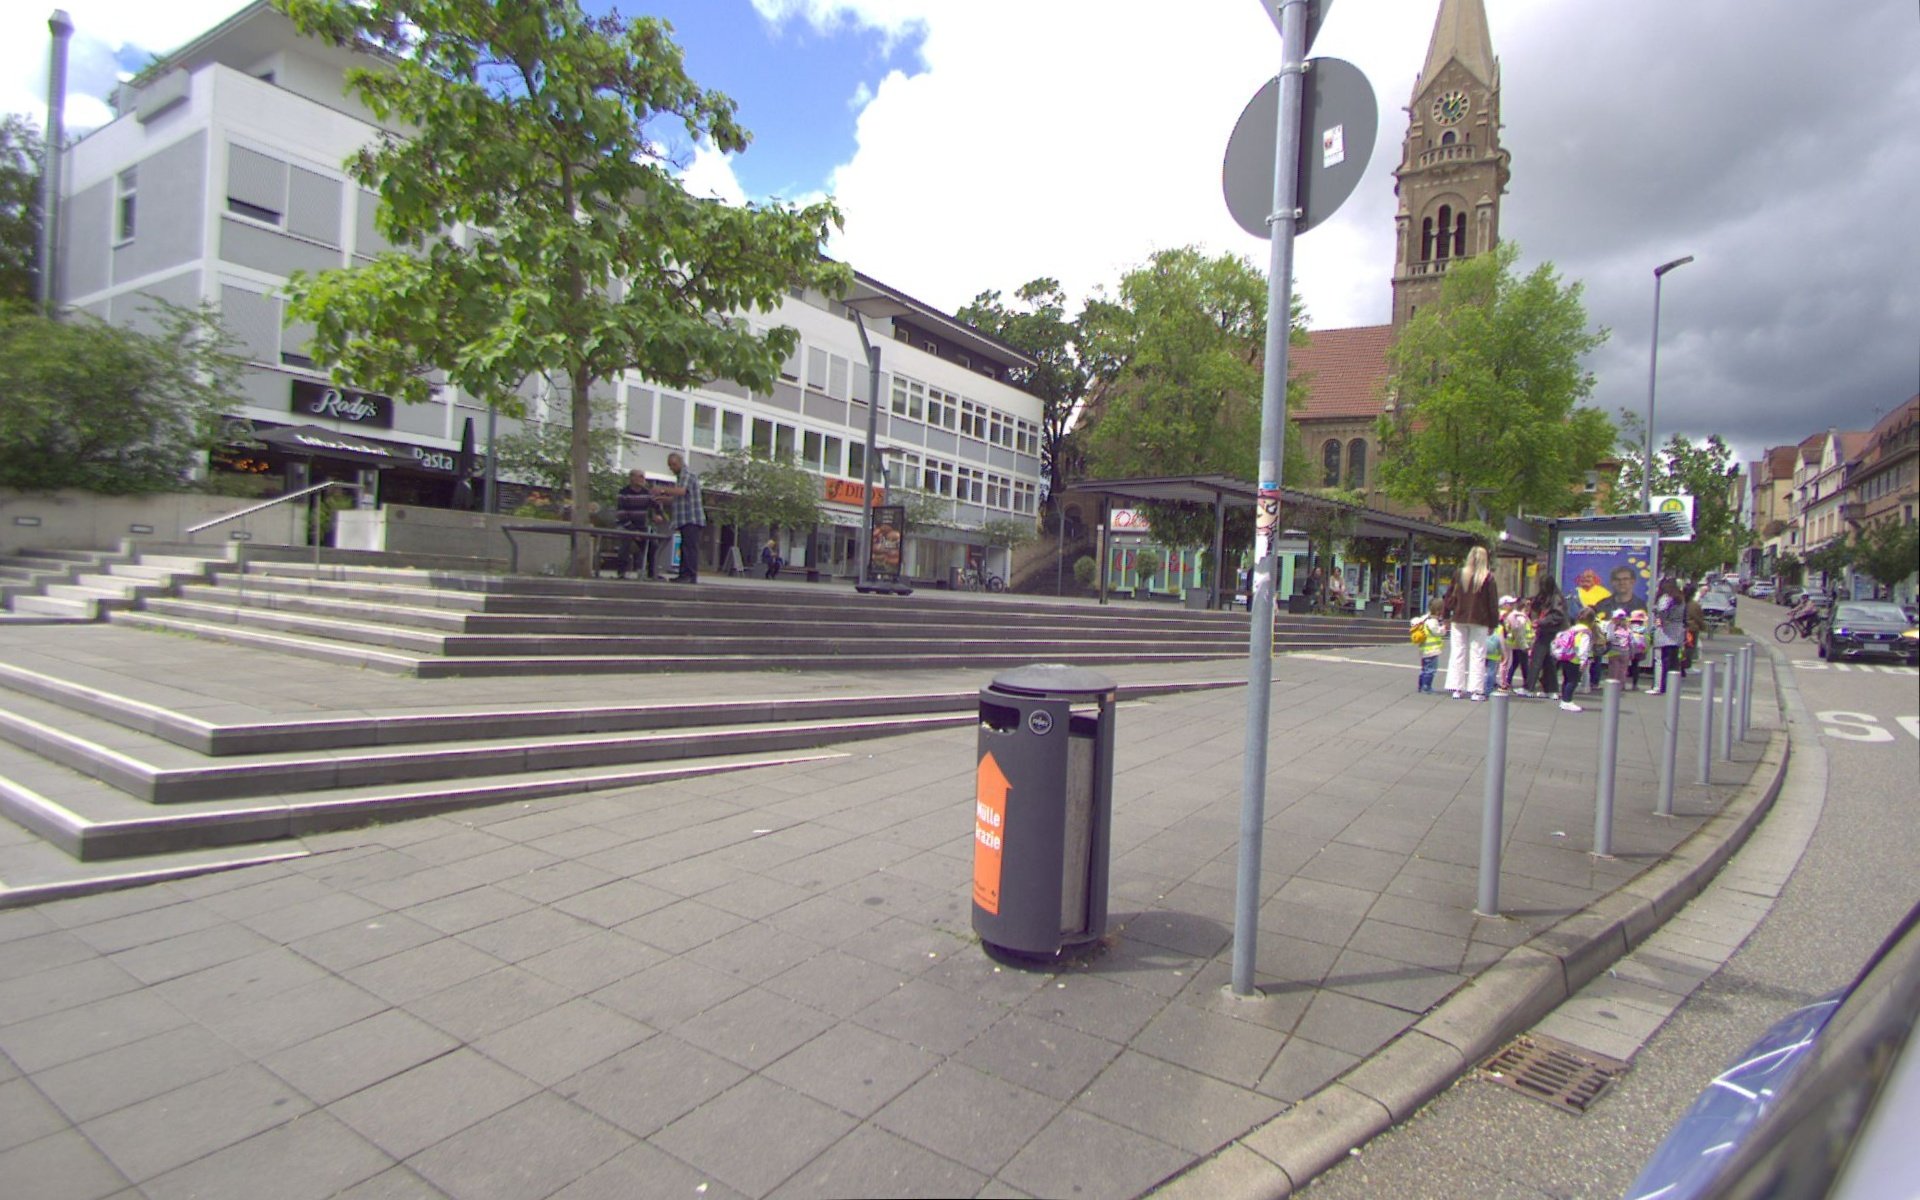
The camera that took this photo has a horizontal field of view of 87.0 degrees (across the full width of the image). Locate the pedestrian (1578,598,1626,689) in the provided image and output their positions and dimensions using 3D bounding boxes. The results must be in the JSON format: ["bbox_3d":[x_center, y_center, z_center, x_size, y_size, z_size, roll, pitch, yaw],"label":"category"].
[{"bbox_3d":[8.677,0.578,13.686,0.330,1.180,0.351,4,4,7],"label":"pedestrian"}]

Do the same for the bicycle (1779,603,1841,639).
[{"bbox_3d":[30.399,0.744,36.196,1.625,1.099,0.413,5,6,5],"label":"bicycle"}]

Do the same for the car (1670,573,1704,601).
[{"bbox_3d":[54.230,-0.986,75.481,1.881,1.869,4.964,4,4,37],"label":"car"}]

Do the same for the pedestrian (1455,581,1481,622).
[{"bbox_3d":[16.451,0.040,32.781,0.568,1.278,0.533,4,0,43],"label":"pedestrian"}]

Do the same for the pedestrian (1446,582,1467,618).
[{"bbox_3d":[15.944,0.005,32.486,0.476,1.102,0.362,4,0,43],"label":"pedestrian"}]

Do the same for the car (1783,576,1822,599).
[{"bbox_3d":[63.709,-0.965,76.578,1.656,1.545,3.922,1,3,31],"label":"car"}]

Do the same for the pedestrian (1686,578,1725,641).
[{"bbox_3d":[20.878,0.256,28.357,0.702,1.703,0.686,1,2,-41],"label":"pedestrian"}]

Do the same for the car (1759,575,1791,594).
[{"bbox_3d":[70.767,-1.377,87.917,1.721,1.448,3.464,3,4,32],"label":"car"}]

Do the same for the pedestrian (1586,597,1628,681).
[{"bbox_3d":[9.345,0.555,14.621,0.312,1.166,0.322,3,2,-1],"label":"pedestrian"}]

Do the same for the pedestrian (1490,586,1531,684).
[{"bbox_3d":[7.298,0.459,13.417,0.323,1.253,0.329,6,4,42],"label":"pedestrian"}]

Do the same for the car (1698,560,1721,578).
[{"bbox_3d":[81.427,-3.335,109.986,1.741,1.824,4.162,5,4,33],"label":"car"}]

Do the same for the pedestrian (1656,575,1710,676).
[{"bbox_3d":[11.736,0.396,16.436,0.495,1.585,0.495,3,2,18],"label":"pedestrian"}]

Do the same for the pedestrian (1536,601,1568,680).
[{"bbox_3d":[8.303,0.564,14.191,0.248,1.082,0.251,1,3,-41],"label":"pedestrian"}]

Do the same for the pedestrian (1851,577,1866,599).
[{"bbox_3d":[65.104,-0.876,73.322,0.610,1.601,0.635,2,3,31],"label":"pedestrian"}]

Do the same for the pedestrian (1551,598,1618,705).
[{"bbox_3d":[7.270,0.591,11.790,0.469,1.186,0.390,4,3,10],"label":"pedestrian"}]

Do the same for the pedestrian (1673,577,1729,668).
[{"bbox_3d":[13.170,0.383,17.987,0.476,1.568,0.545,2,2,-8],"label":"pedestrian"}]

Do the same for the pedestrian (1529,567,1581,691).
[{"bbox_3d":[7.554,0.357,12.844,0.383,1.535,0.390,1,3,-45],"label":"pedestrian"}]

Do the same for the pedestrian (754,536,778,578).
[{"bbox_3d":[-6.417,-1.417,33.484,0.561,1.340,0.543,1,1,12],"label":"pedestrian"}]

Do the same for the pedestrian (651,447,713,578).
[{"bbox_3d":[-3.321,-1.034,12.099,0.449,1.527,0.500,3,1,22],"label":"pedestrian"}]

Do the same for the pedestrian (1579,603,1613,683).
[{"bbox_3d":[8.797,0.588,13.998,0.246,1.082,0.252,2,3,-35],"label":"pedestrian"}]

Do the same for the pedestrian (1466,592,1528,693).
[{"bbox_3d":[6.728,0.526,12.690,0.500,1.213,0.391,2,3,-26],"label":"pedestrian"}]

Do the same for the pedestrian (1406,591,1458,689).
[{"bbox_3d":[5.894,0.489,12.646,0.439,1.162,0.377,5,3,42],"label":"pedestrian"}]

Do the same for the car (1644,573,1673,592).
[{"bbox_3d":[62.470,-1.592,90.500,1.804,1.464,3.903,6,6,31],"label":"car"}]

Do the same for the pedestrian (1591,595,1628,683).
[{"bbox_3d":[9.081,0.541,14.158,0.247,1.188,0.251,3,2,-3],"label":"pedestrian"}]

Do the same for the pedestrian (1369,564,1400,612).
[{"bbox_3d":[12.219,-0.351,29.151,0.624,1.323,0.537,4,2,42],"label":"pedestrian"}]

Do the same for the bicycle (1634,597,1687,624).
[{"bbox_3d":[29.474,0.424,42.603,1.718,1.008,0.342,4,3,30],"label":"bicycle"}]

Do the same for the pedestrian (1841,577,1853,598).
[{"bbox_3d":[64.775,-0.902,73.919,0.493,1.495,0.523,2,3,31],"label":"pedestrian"}]

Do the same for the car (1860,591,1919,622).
[{"bbox_3d":[51.341,0.326,55.975,1.651,1.409,4.392,2,3,33],"label":"car"}]

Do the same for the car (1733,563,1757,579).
[{"bbox_3d":[84.254,-3.156,108.672,1.679,1.542,3.490,3,4,32],"label":"car"}]

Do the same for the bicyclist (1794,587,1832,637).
[{"bbox_3d":[30.482,0.419,36.163,0.764,1.715,0.509,5,1,4],"label":"bicyclist"}]

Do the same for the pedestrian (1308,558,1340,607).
[{"bbox_3d":[9.382,-0.440,26.100,0.556,1.243,0.568,1,1,-42],"label":"pedestrian"}]

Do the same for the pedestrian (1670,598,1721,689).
[{"bbox_3d":[10.399,0.609,14.312,0.380,1.241,0.405,2,2,-29],"label":"pedestrian"}]

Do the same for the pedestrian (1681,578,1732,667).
[{"bbox_3d":[13.556,0.402,18.380,0.477,1.568,0.515,2,2,-25],"label":"pedestrian"}]

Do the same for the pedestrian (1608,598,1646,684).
[{"bbox_3d":[9.401,0.573,14.260,0.259,1.175,0.271,3,2,-1],"label":"pedestrian"}]

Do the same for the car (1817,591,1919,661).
[{"bbox_3d":[23.956,0.616,26.433,1.882,1.543,3.694,1,3,32],"label":"car"}]

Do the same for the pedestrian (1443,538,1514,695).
[{"bbox_3d":[6.304,0.184,12.315,0.428,1.845,0.540,1,3,-45],"label":"pedestrian"}]

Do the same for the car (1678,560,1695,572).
[{"bbox_3d":[104.217,-4.864,145.182,1.675,1.518,4.107,4,4,32],"label":"car"}]

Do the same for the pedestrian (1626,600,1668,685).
[{"bbox_3d":[9.732,0.593,14.345,0.287,1.166,0.299,3,2,-3],"label":"pedestrian"}]

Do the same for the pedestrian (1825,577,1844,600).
[{"bbox_3d":[65.158,-0.871,75.379,0.866,1.686,0.897,2,3,31],"label":"pedestrian"}]

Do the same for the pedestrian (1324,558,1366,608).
[{"bbox_3d":[10.103,-0.453,26.564,0.662,1.285,0.772,1,1,-18],"label":"pedestrian"}]

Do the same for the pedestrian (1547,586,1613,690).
[{"bbox_3d":[8.270,0.492,13.521,0.425,1.319,0.599,3,3,5],"label":"pedestrian"}]

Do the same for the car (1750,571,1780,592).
[{"bbox_3d":[74.674,-1.736,93.945,1.720,1.700,3.947,3,4,32],"label":"car"}]

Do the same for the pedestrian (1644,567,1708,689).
[{"bbox_3d":[9.886,0.380,13.981,0.460,1.639,0.388,3,2,-3],"label":"pedestrian"}]

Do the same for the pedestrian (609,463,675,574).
[{"bbox_3d":[-3.902,-0.982,12.428,0.363,1.301,0.631,3,1,43],"label":"pedestrian"}]

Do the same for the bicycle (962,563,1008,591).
[{"bbox_3d":[1.175,-1.067,46.827,1.992,1.156,0.687,5,2,6],"label":"bicycle"}]

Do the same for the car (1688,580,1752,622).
[{"bbox_3d":[35.353,0.014,47.179,1.921,1.745,4.522,4,3,32],"label":"car"}]

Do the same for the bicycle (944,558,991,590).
[{"bbox_3d":[0.345,-1.181,45.670,1.992,1.323,0.687,4,1,6],"label":"bicycle"}]

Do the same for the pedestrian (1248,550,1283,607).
[{"bbox_3d":[7.225,-0.510,23.901,0.536,1.340,0.568,1,1,-42],"label":"pedestrian"}]

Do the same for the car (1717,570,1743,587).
[{"bbox_3d":[71.108,-1.990,93.484,1.601,1.405,3.585,4,4,34],"label":"car"}]

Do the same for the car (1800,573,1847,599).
[{"bbox_3d":[59.902,-1.003,70.280,1.717,1.592,4.408,2,3,30],"label":"car"}]
